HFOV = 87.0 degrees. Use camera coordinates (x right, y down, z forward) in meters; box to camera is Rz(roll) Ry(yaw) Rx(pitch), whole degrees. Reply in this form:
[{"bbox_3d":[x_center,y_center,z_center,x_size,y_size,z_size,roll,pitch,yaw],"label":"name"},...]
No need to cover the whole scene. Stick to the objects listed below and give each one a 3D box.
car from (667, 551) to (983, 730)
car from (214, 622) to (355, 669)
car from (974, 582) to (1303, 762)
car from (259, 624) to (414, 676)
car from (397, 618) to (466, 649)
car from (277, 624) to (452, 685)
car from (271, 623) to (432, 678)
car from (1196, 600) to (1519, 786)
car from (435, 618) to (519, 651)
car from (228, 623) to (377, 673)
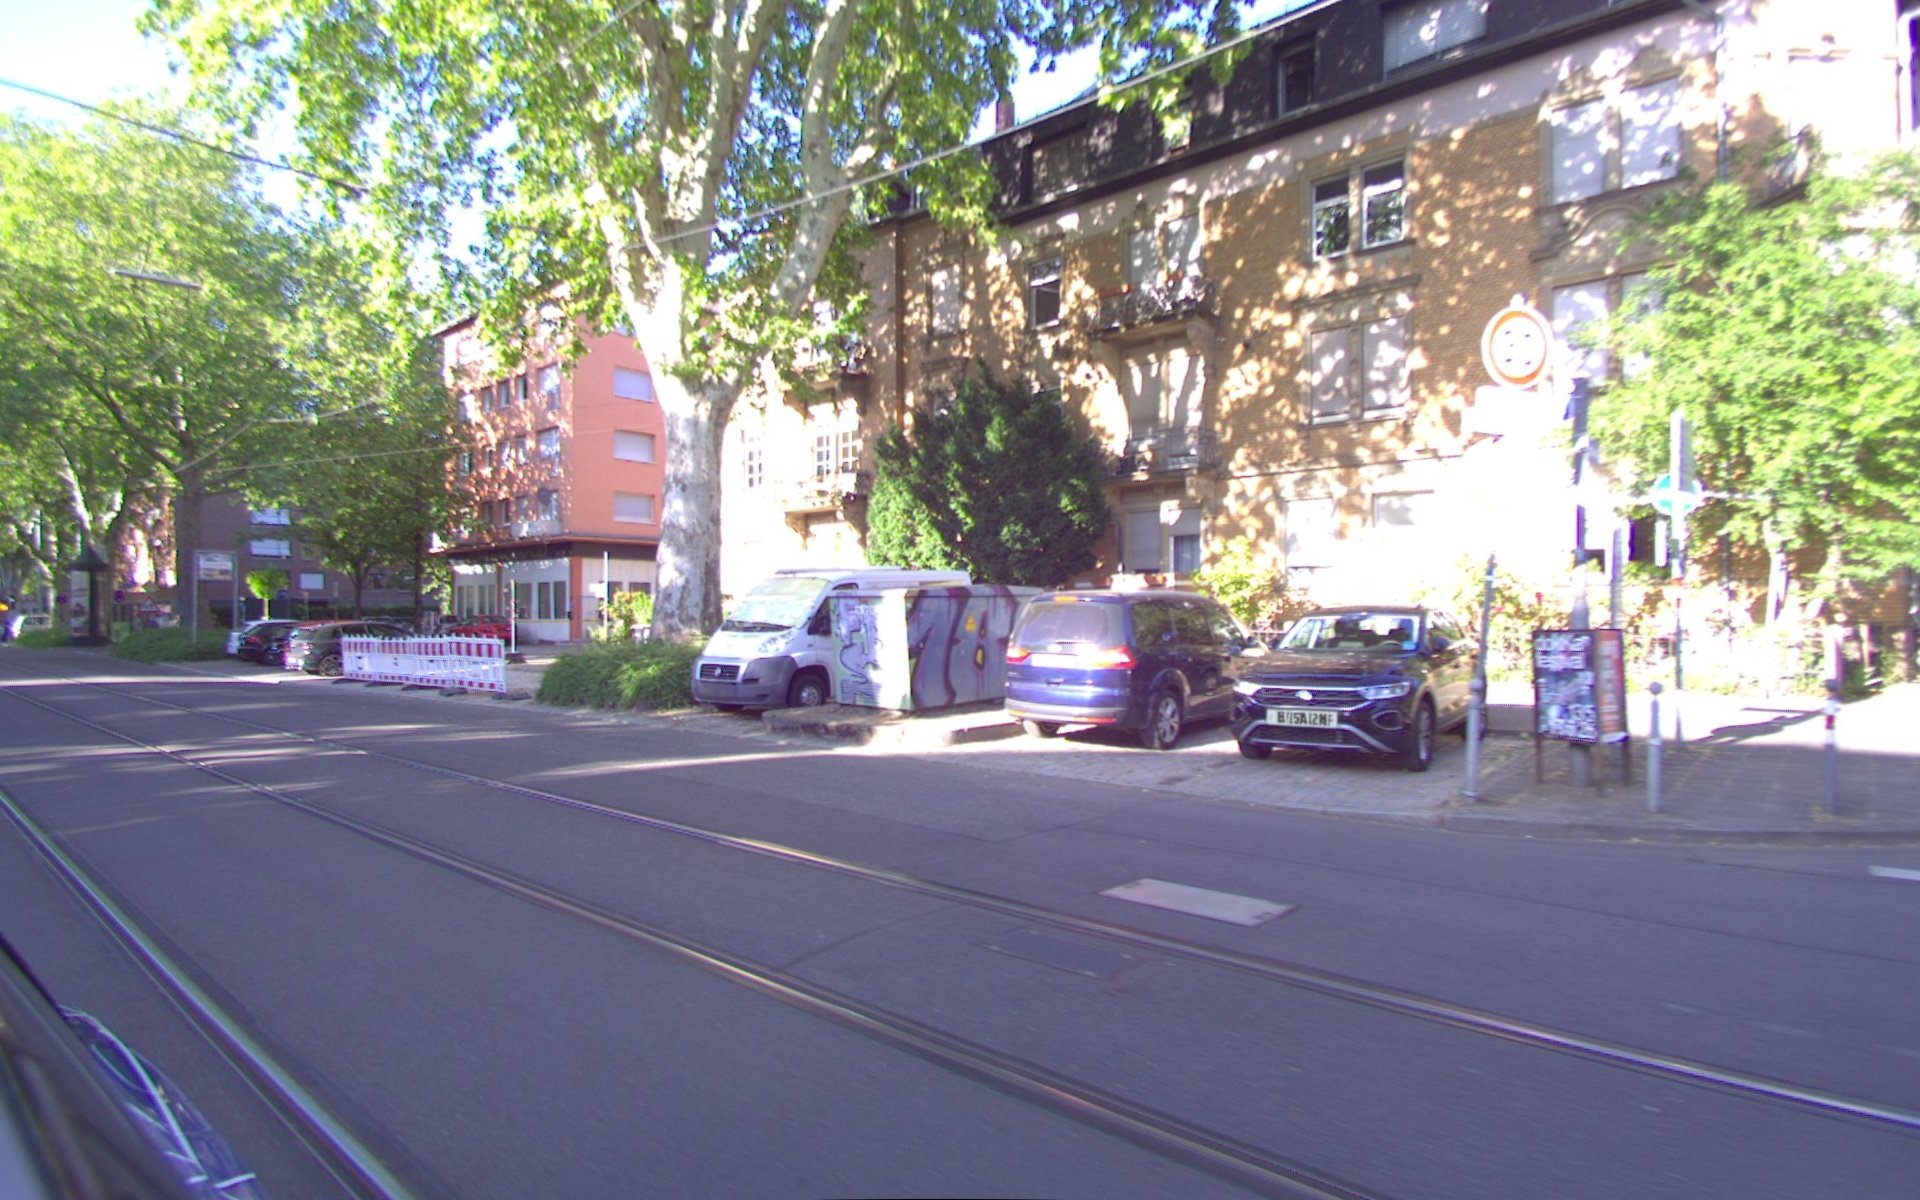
[{"bbox_3d":[-1.976,0.575,16.247,2.026,2.416,4.956,-2,-2,39],"label":"car"},{"bbox_3d":[-24.374,1.624,36.603,1.809,1.527,3.916,-2,-2,40],"label":"car"},{"bbox_3d":[2.344,0.737,12.350,2.026,1.779,4.408,-2,-2,40],"label":"car"},{"bbox_3d":[-20.227,1.589,32.944,1.809,1.527,3.916,-2,-2,40],"label":"car"},{"bbox_3d":[-25.694,1.622,49.203,3.648,1.458,1.650,-1,-3,40],"label":"car"},{"bbox_3d":[-16.869,1.497,28.799,1.809,1.527,3.916,-2,-2,40],"label":"car"},{"bbox_3d":[-18.772,1.523,31.332,1.809,1.527,3.916,-2,-2,40],"label":"car"},{"bbox_3d":[4.291,0.793,10.543,1.924,1.527,4.118,-2,-2,40],"label":"car"},{"bbox_3d":[-22.056,1.578,46.150,4.606,1.458,1.650,-1,-3,40],"label":"car"},{"bbox_3d":[-22.369,1.601,34.533,1.809,1.527,3.916,-2,-2,40],"label":"car"}]
